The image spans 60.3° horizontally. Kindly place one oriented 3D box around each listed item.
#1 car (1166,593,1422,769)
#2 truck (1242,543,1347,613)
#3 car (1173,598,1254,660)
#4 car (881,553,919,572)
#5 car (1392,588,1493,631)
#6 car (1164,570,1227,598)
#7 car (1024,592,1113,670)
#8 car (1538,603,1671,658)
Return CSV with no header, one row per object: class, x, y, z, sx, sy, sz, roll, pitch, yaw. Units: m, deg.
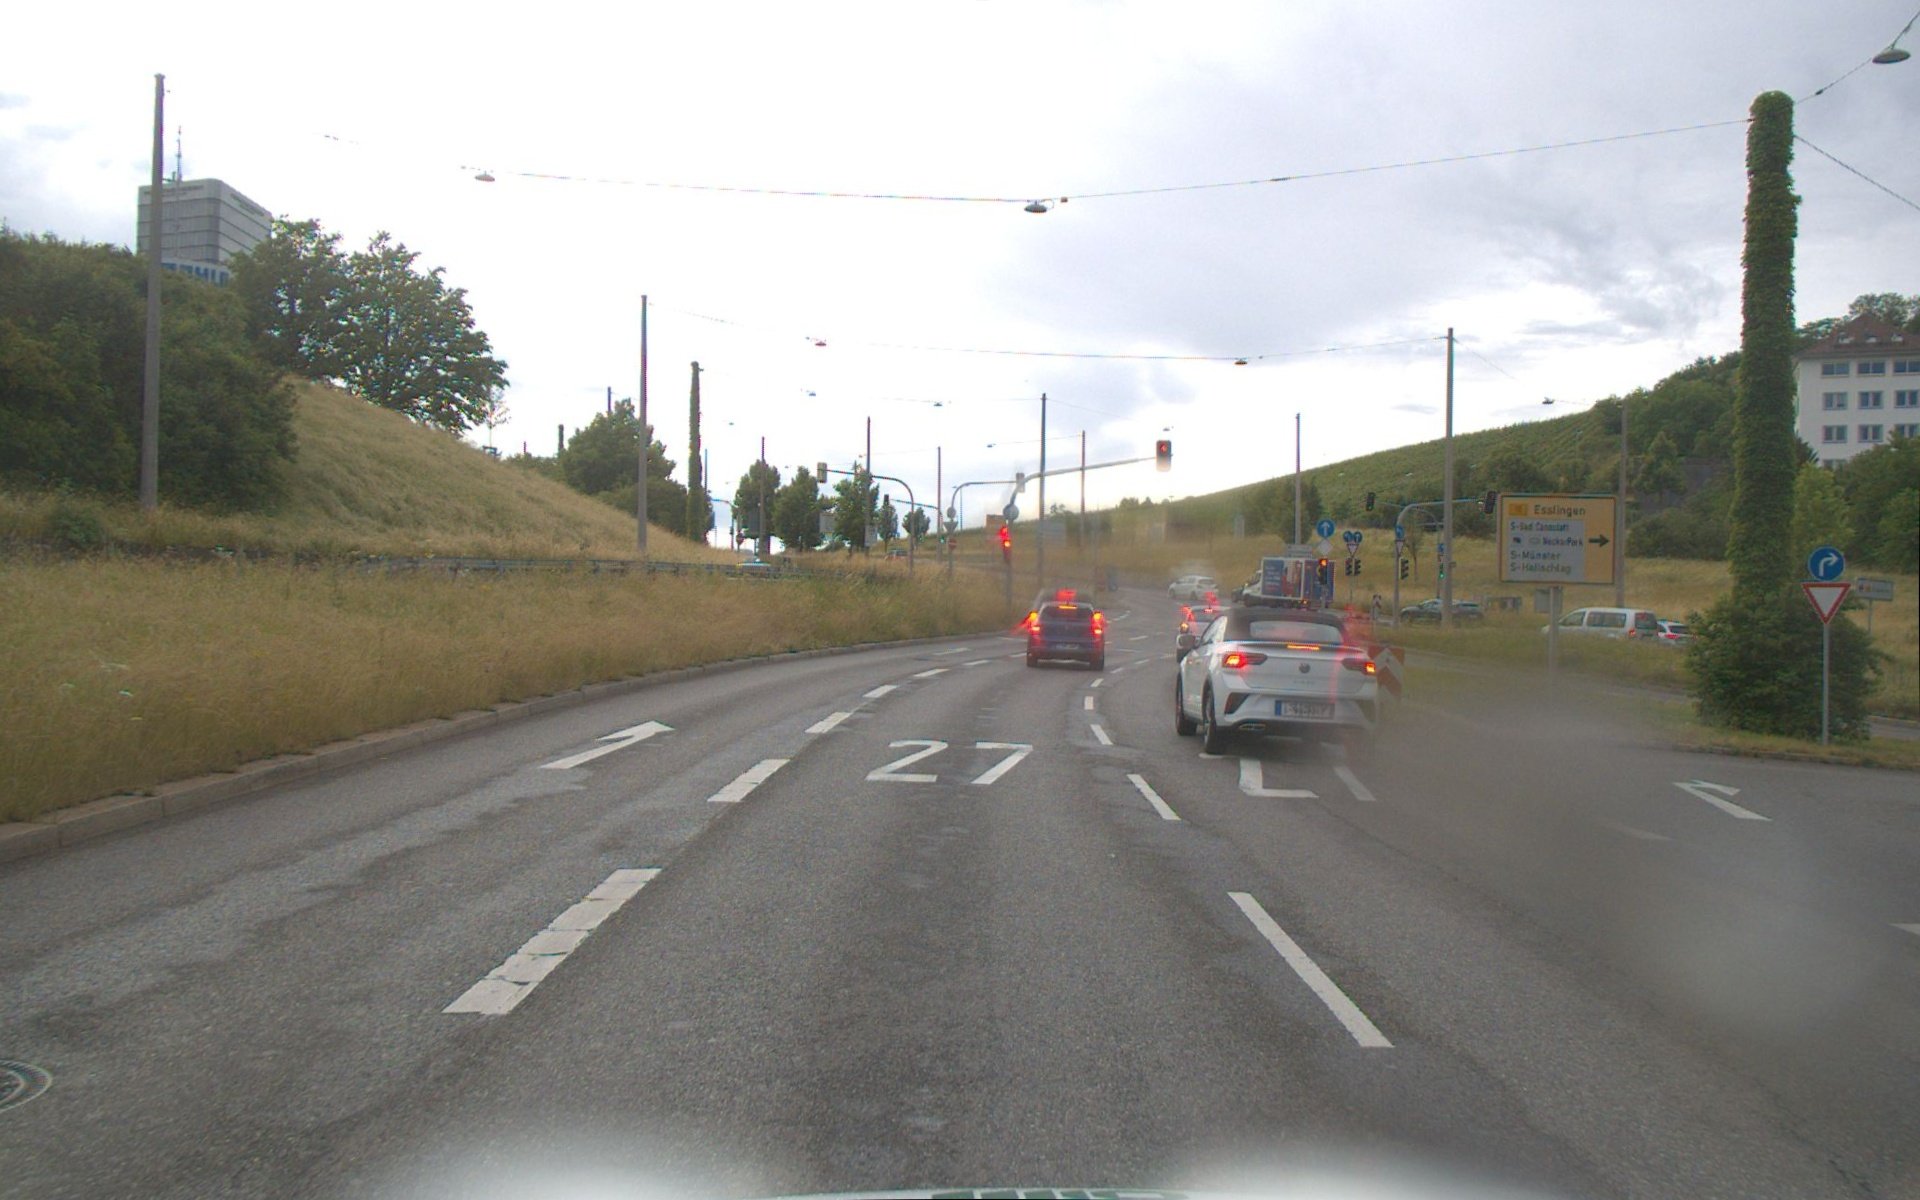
car,3.565,0.790,18.425,1.955,1.606,4.125,3,0,0
truck,18.715,-1.305,92.845,2.809,3.587,6.195,-1,3,-22
car,7.073,0.767,45.955,1.737,1.545,3.727,3,1,15
car,-5.556,-3.426,152.266,1.967,1.741,4.530,-1,1,-24
car,23.410,0.437,80.360,1.976,1.741,4.510,-1,4,-34
car,14.562,-1.002,102.608,1.965,1.526,4.537,0,4,-20
car,2.500,0.687,37.809,1.886,1.627,4.063,1,-1,4
car,24.514,1.122,63.063,1.972,1.741,4.521,-1,4,-29
